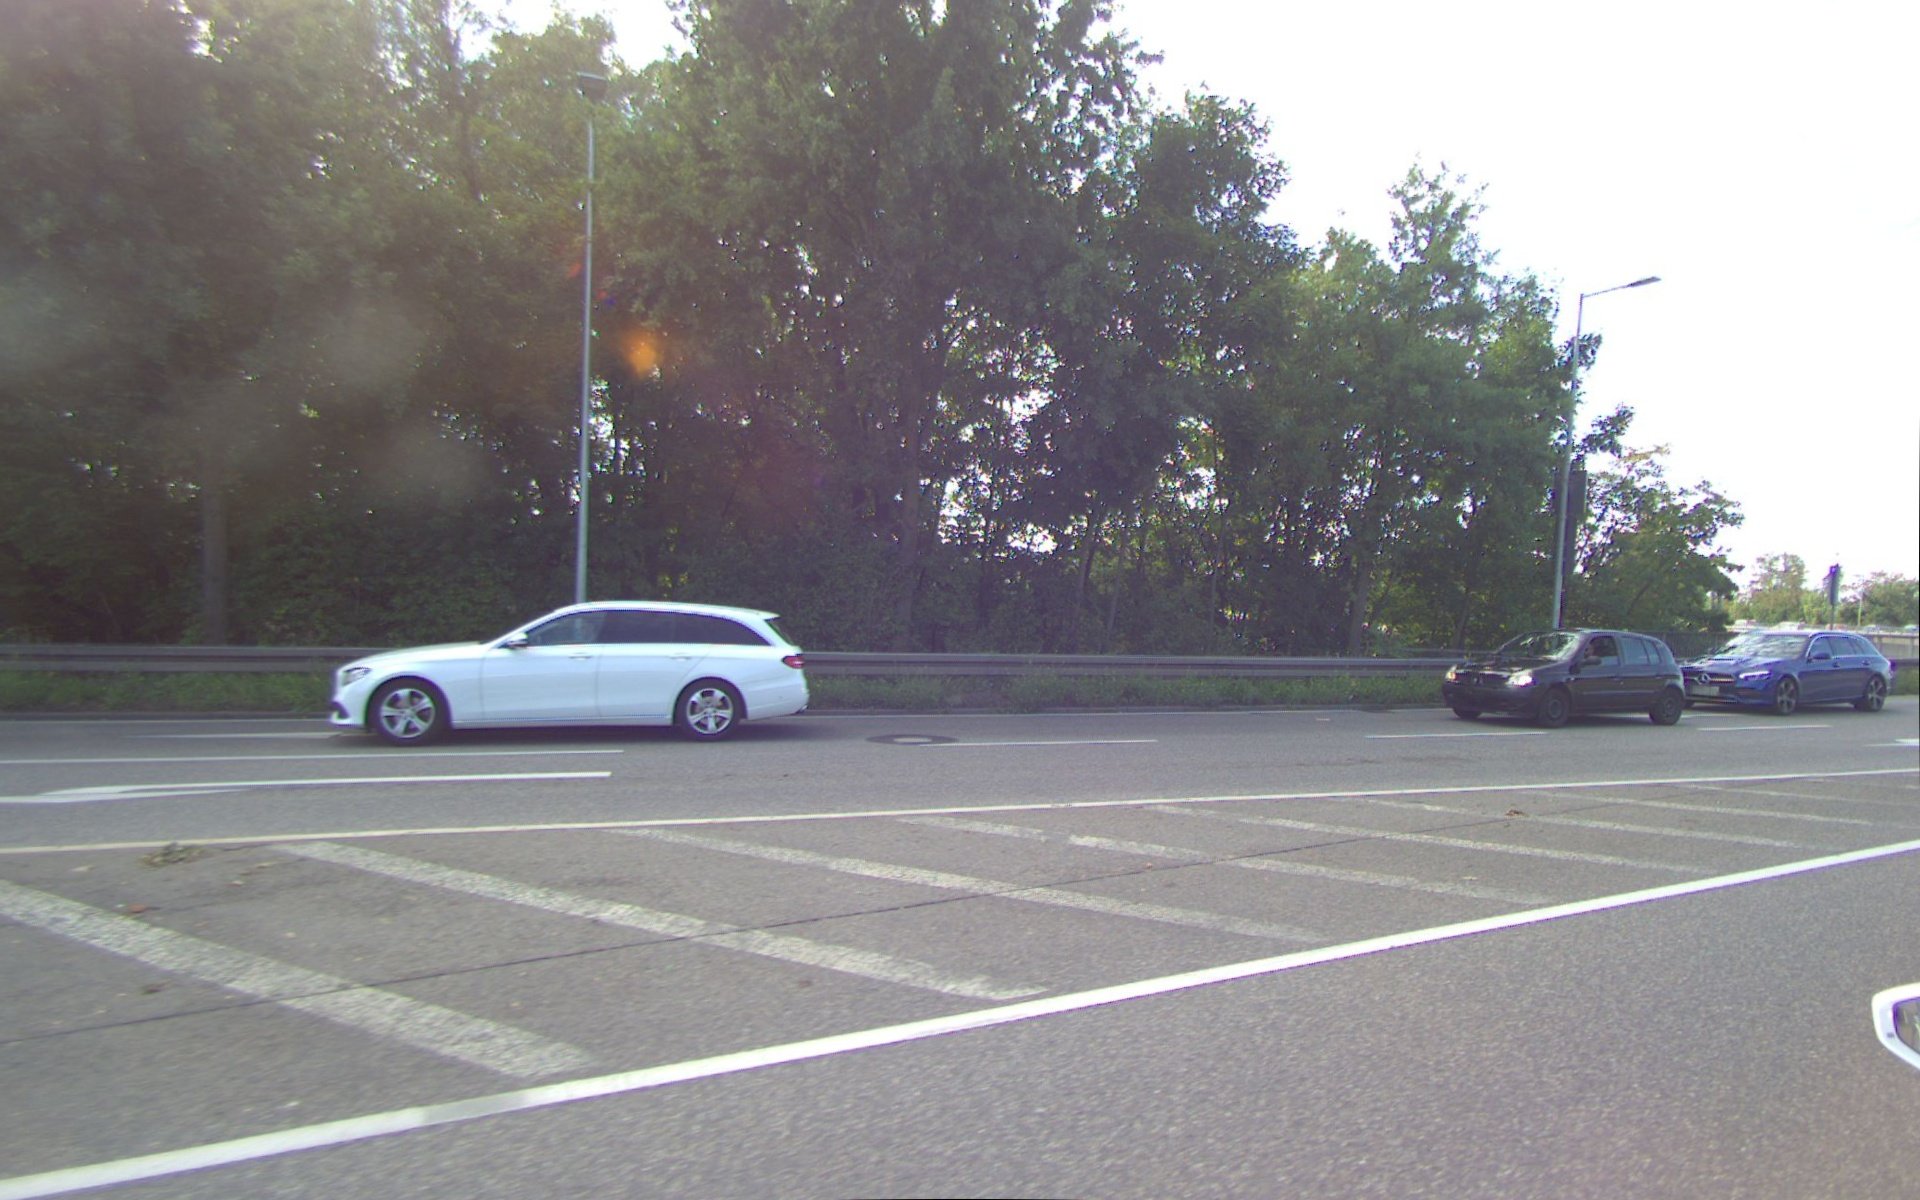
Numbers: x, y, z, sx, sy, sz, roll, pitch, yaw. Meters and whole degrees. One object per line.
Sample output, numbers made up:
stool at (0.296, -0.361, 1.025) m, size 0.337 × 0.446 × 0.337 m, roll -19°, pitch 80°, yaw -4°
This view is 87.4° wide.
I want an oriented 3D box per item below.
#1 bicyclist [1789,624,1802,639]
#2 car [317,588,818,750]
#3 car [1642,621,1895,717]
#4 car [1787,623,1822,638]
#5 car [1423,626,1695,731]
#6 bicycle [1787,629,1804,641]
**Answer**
bicyclist at (97.613, 3.719, 117.348) m, size 0.753 × 1.683 × 1.121 m, roll 2°, pitch 0°, yaw 15°
car at (-4.067, 0.702, 11.098) m, size 4.747 × 1.540 × 1.814 m, roll 1°, pitch 0°, yaw -16°
car at (14.897, 1.203, 18.479) m, size 4.701 × 1.540 × 1.808 m, roll 1°, pitch 0°, yaw -26°
car at (103.420, 3.702, 123.050) m, size 1.743 × 1.769 × 3.839 m, roll 1°, pitch 0°, yaw 13°
car at (9.070, 1.132, 15.211) m, size 3.718 × 1.383 × 1.621 m, roll 1°, pitch 0°, yaw -22°
bicycle at (97.585, 4.086, 117.272) m, size 0.751 × 1.349 × 1.917 m, roll 2°, pitch 0°, yaw 15°
